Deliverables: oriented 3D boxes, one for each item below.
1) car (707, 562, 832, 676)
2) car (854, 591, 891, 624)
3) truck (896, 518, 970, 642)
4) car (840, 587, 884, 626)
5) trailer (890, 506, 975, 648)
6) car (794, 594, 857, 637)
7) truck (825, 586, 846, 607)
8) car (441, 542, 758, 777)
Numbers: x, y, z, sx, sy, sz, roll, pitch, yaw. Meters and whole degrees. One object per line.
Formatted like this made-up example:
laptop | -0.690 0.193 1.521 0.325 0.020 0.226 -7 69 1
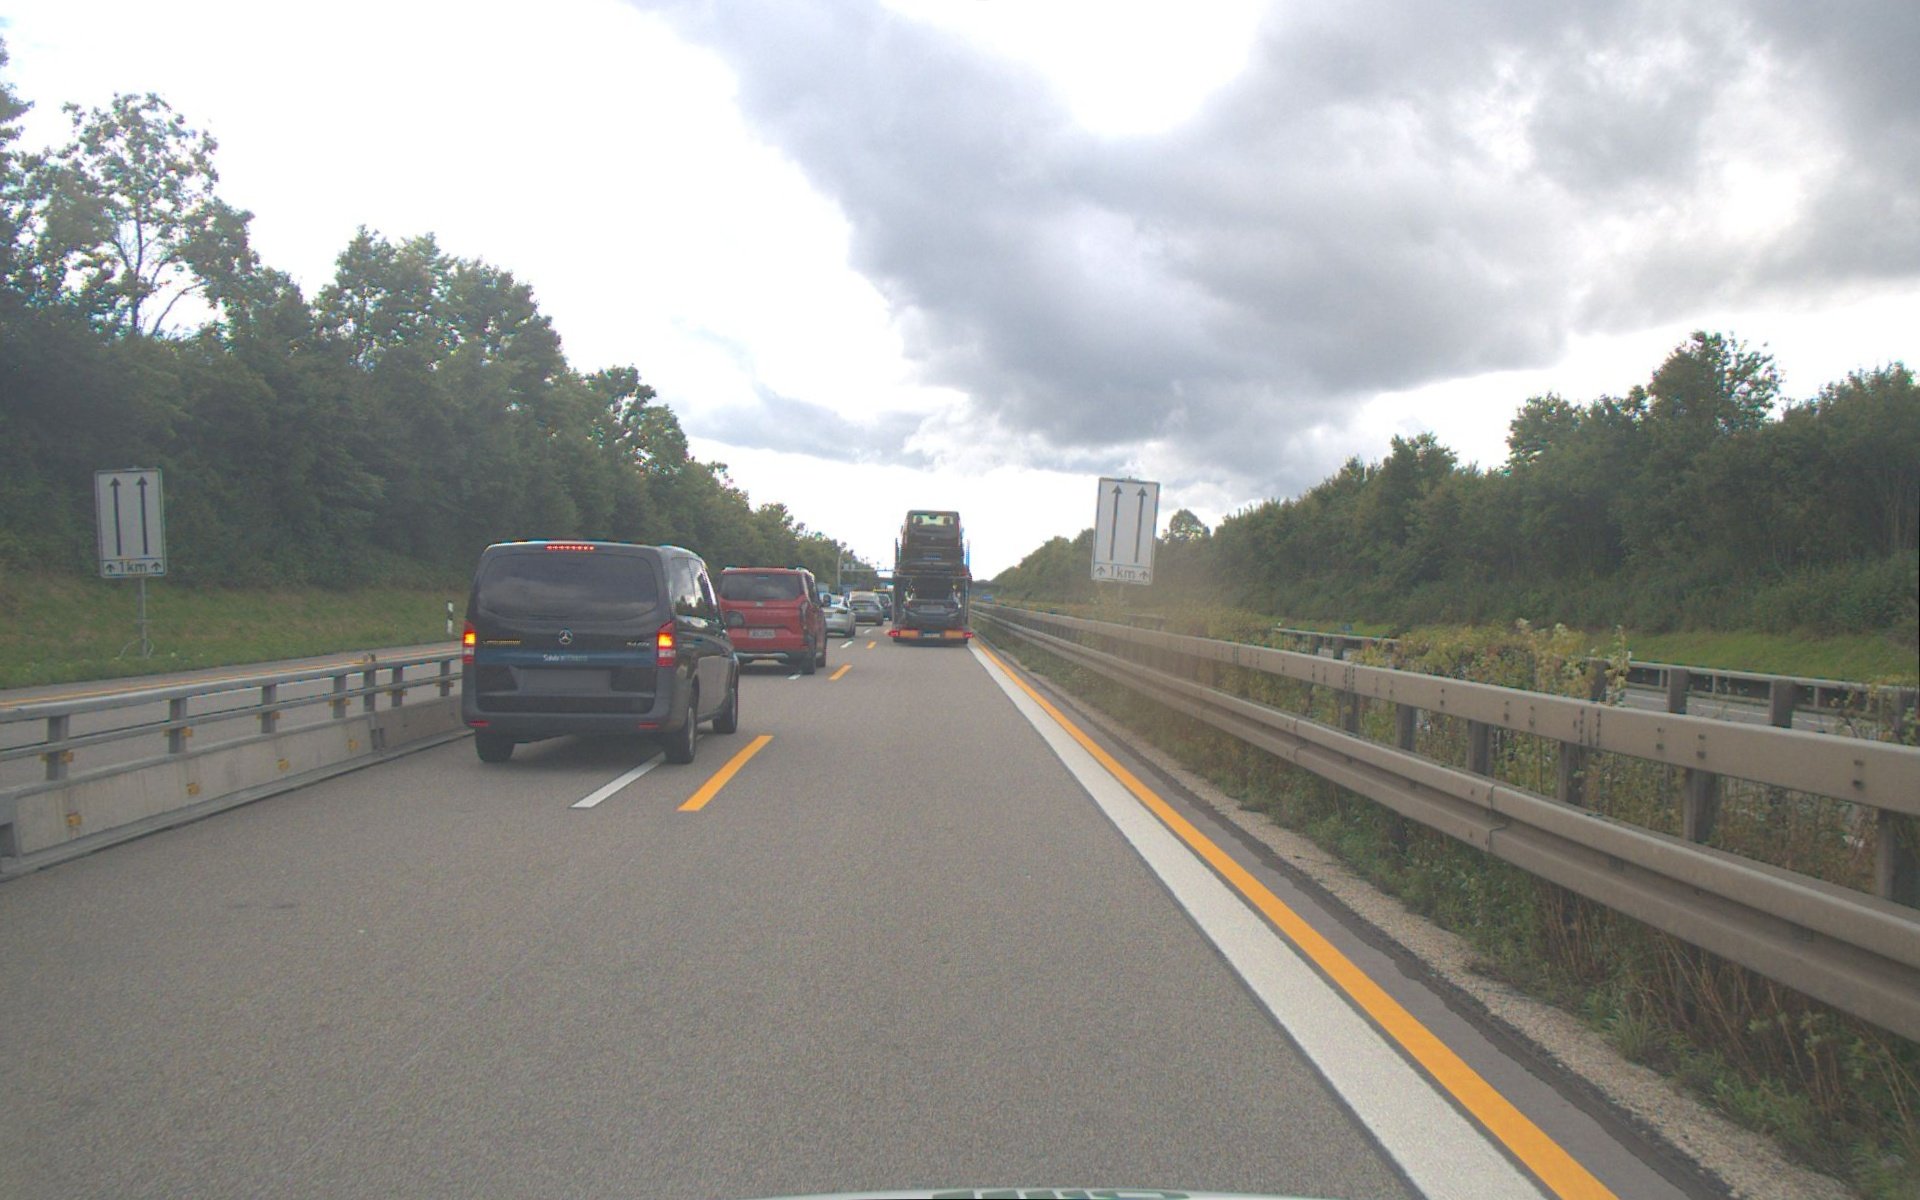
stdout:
car | -3.649 0.346 32.436 1.990 2.049 4.576 1 0 -1
car | -4.880 0.412 92.662 1.990 1.788 4.576 1 0 -2
truck | -0.945 -0.676 59.214 2.464 4.177 5.684 1 0 -1
car | -4.720 0.312 80.082 1.990 1.788 4.576 1 0 -2
trailer | -0.882 -0.680 54.492 2.464 4.177 11.111 1 0 -1
car | -4.733 0.530 58.544 1.990 1.456 4.576 1 0 -2
truck | -16.770 -0.456 223.277 2.439 2.765 6.665 1 0 -1
car | -3.235 0.476 16.070 1.953 1.875 5.608 0 0 -1
